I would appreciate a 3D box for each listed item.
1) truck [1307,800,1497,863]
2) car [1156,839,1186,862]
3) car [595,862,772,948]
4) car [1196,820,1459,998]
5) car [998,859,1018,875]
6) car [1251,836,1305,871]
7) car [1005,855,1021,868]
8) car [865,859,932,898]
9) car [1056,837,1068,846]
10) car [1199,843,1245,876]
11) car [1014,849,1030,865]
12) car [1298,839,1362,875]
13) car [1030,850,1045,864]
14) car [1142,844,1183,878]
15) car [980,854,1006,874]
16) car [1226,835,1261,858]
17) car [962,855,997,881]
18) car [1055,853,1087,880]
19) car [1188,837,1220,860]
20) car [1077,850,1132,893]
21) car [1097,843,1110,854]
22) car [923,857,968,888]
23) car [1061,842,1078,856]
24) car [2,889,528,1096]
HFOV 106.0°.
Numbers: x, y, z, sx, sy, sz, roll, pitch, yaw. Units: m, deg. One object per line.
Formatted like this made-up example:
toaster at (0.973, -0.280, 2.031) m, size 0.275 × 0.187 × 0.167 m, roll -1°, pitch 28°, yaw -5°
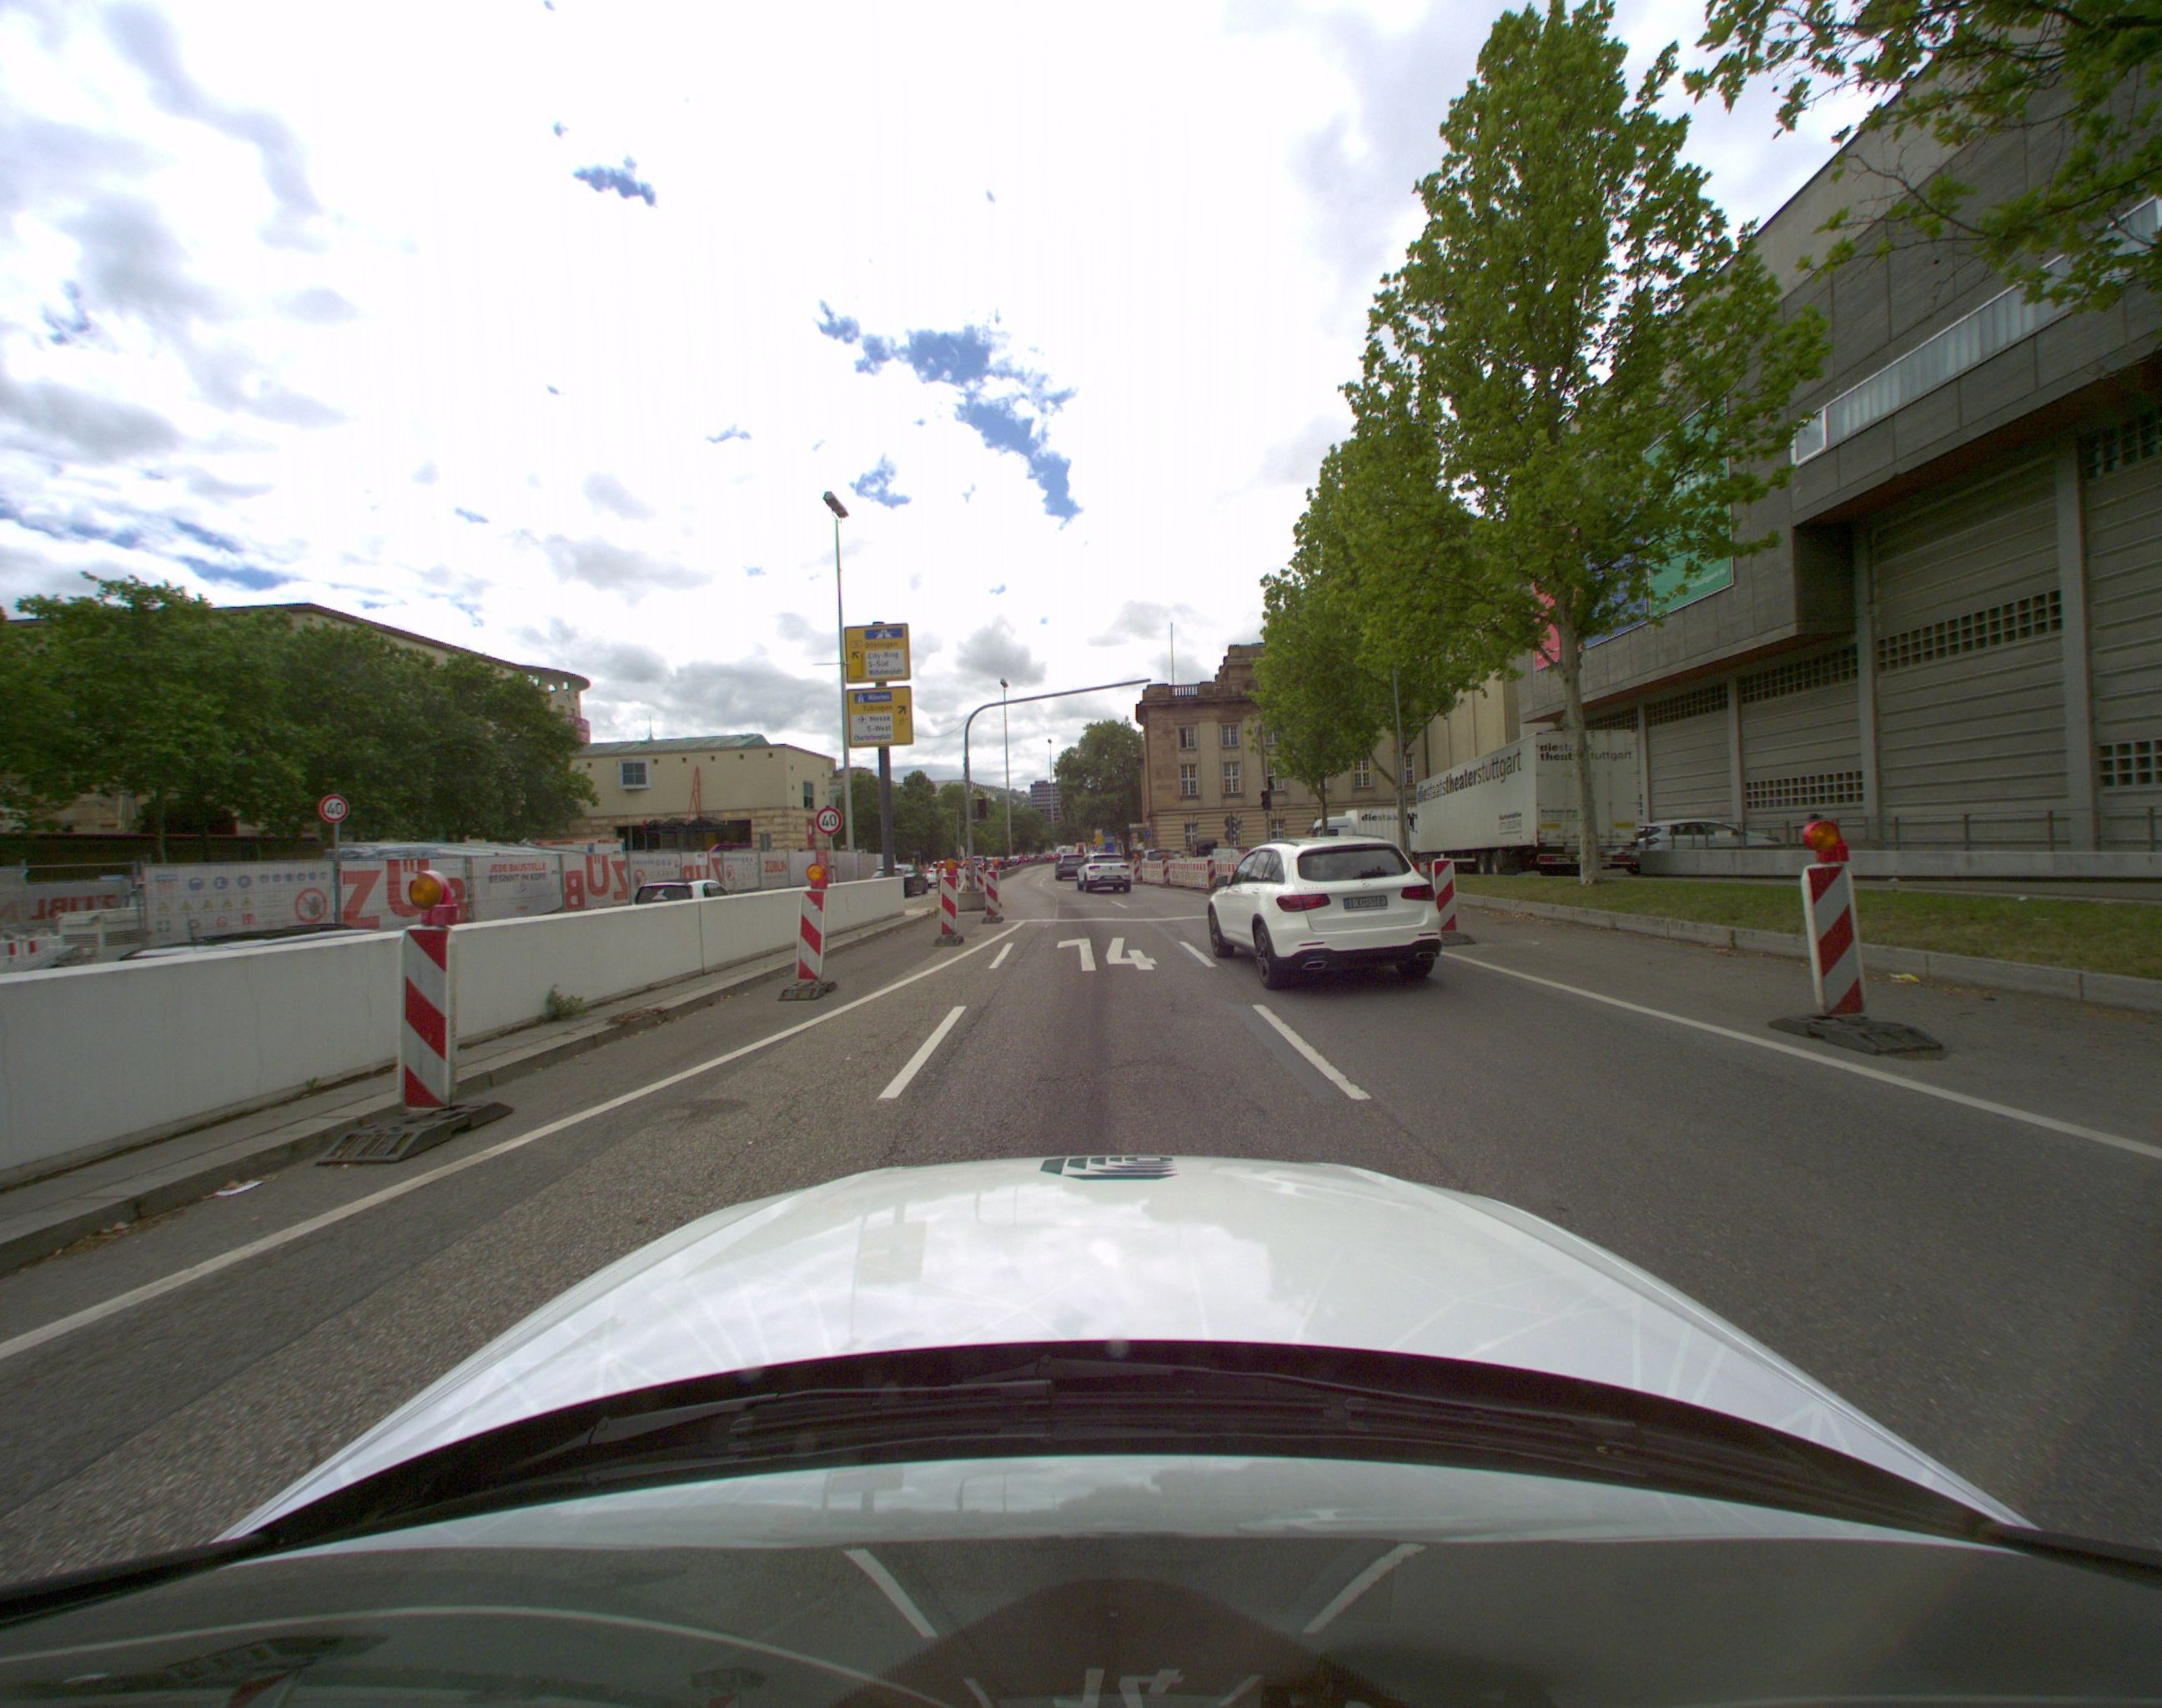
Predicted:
truck at (18.639, -1.278, 47.689) m, size 9.990 × 3.050 × 2.570 m, roll -3°, pitch -1°, yaw 2°
car at (6.675, -0.229, 60.927) m, size 1.849 × 1.568 × 4.333 m, roll -2°, pitch -1°, yaw 2°
car at (-8.980, 1.074, 18.842) m, size 1.986 × 1.641 × 4.001 m, roll -3°, pitch 0°, yaw 1°
car at (2.809, 0.534, 10.467) m, size 1.807 × 1.642 × 4.549 m, roll -5°, pitch 0°, yaw -1°
car at (-7.538, 1.350, 84.212) m, size 1.746 × 1.568 × 4.329 m, roll -2°, pitch 0°, yaw -1°
car at (9.649, 0.004, 40.182) m, size 1.744 × 1.568 × 4.333 m, roll -2°, pitch -1°, yaw 2°
car at (-8.922, 1.013, 107.087) m, size 1.745 × 1.568 × 4.329 m, roll -2°, pitch 0°, yaw -1°
car at (-8.023, 1.037, 36.187) m, size 1.743 × 1.568 × 4.334 m, roll -3°, pitch 0°, yaw 3°
car at (-5.183, -3.572, 226.995) m, size 2.569 × 2.374 × 5.536 m, roll -3°, pitch 0°, yaw 6°
car at (7.299, 0.310, 42.583) m, size 1.744 × 1.568 × 4.333 m, roll -2°, pitch -1°, yaw 2°
car at (-8.491, 0.387, 116.845) m, size 1.988 × 2.013 × 3.999 m, roll -3°, pitch 2°, yaw -1°
car at (12.077, 0.148, 39.766) m, size 1.849 × 1.568 × 4.333 m, roll -2°, pitch -1°, yaw 2°
car at (-6.784, 0.476, 126.702) m, size 1.987 × 2.013 × 4.000 m, roll -3°, pitch 2°, yaw 0°
car at (4.125, 0.351, 41.722) m, size 1.744 × 1.568 × 4.333 m, roll -2°, pitch -1°, yaw 2°
car at (-7.440, 0.795, 69.171) m, size 1.745 × 1.568 × 4.329 m, roll -2°, pitch 0°, yaw -1°
car at (12.093, -0.511, 61.010) m, size 1.849 × 1.568 × 4.333 m, roll -2°, pitch -1°, yaw 2°
car at (-7.051, 0.948, 56.854) m, size 1.744 × 1.567 × 3.379 m, roll -5°, pitch 0°, yaw 3°
car at (-0.688, 0.760, 51.477) m, size 1.819 × 1.567 × 4.475 m, roll 0°, pitch 0°, yaw -3°
car at (9.119, -0.347, 60.633) m, size 1.849 × 1.568 × 4.333 m, roll -2°, pitch -1°, yaw 2°
car at (0.885, 0.677, 33.400) m, size 1.747 × 1.568 × 4.324 m, roll -2°, pitch 0°, yaw -4°
car at (5.240, -1.261, 188.252) m, size 2.569 × 2.374 × 5.536 m, roll -3°, pitch 0°, yaw 6°
car at (-7.527, 1.002, 45.664) m, size 1.743 × 1.567 × 3.379 m, roll -3°, pitch 0°, yaw 3°
car at (-2.156, -0.915, 153.554) m, size 2.569 × 2.374 × 5.536 m, roll -3°, pitch 0°, yaw 6°
car at (-8.902, 1.363, 9.527) m, size 1.986 × 1.641 × 4.001 m, roll -3°, pitch 0°, yaw 1°
